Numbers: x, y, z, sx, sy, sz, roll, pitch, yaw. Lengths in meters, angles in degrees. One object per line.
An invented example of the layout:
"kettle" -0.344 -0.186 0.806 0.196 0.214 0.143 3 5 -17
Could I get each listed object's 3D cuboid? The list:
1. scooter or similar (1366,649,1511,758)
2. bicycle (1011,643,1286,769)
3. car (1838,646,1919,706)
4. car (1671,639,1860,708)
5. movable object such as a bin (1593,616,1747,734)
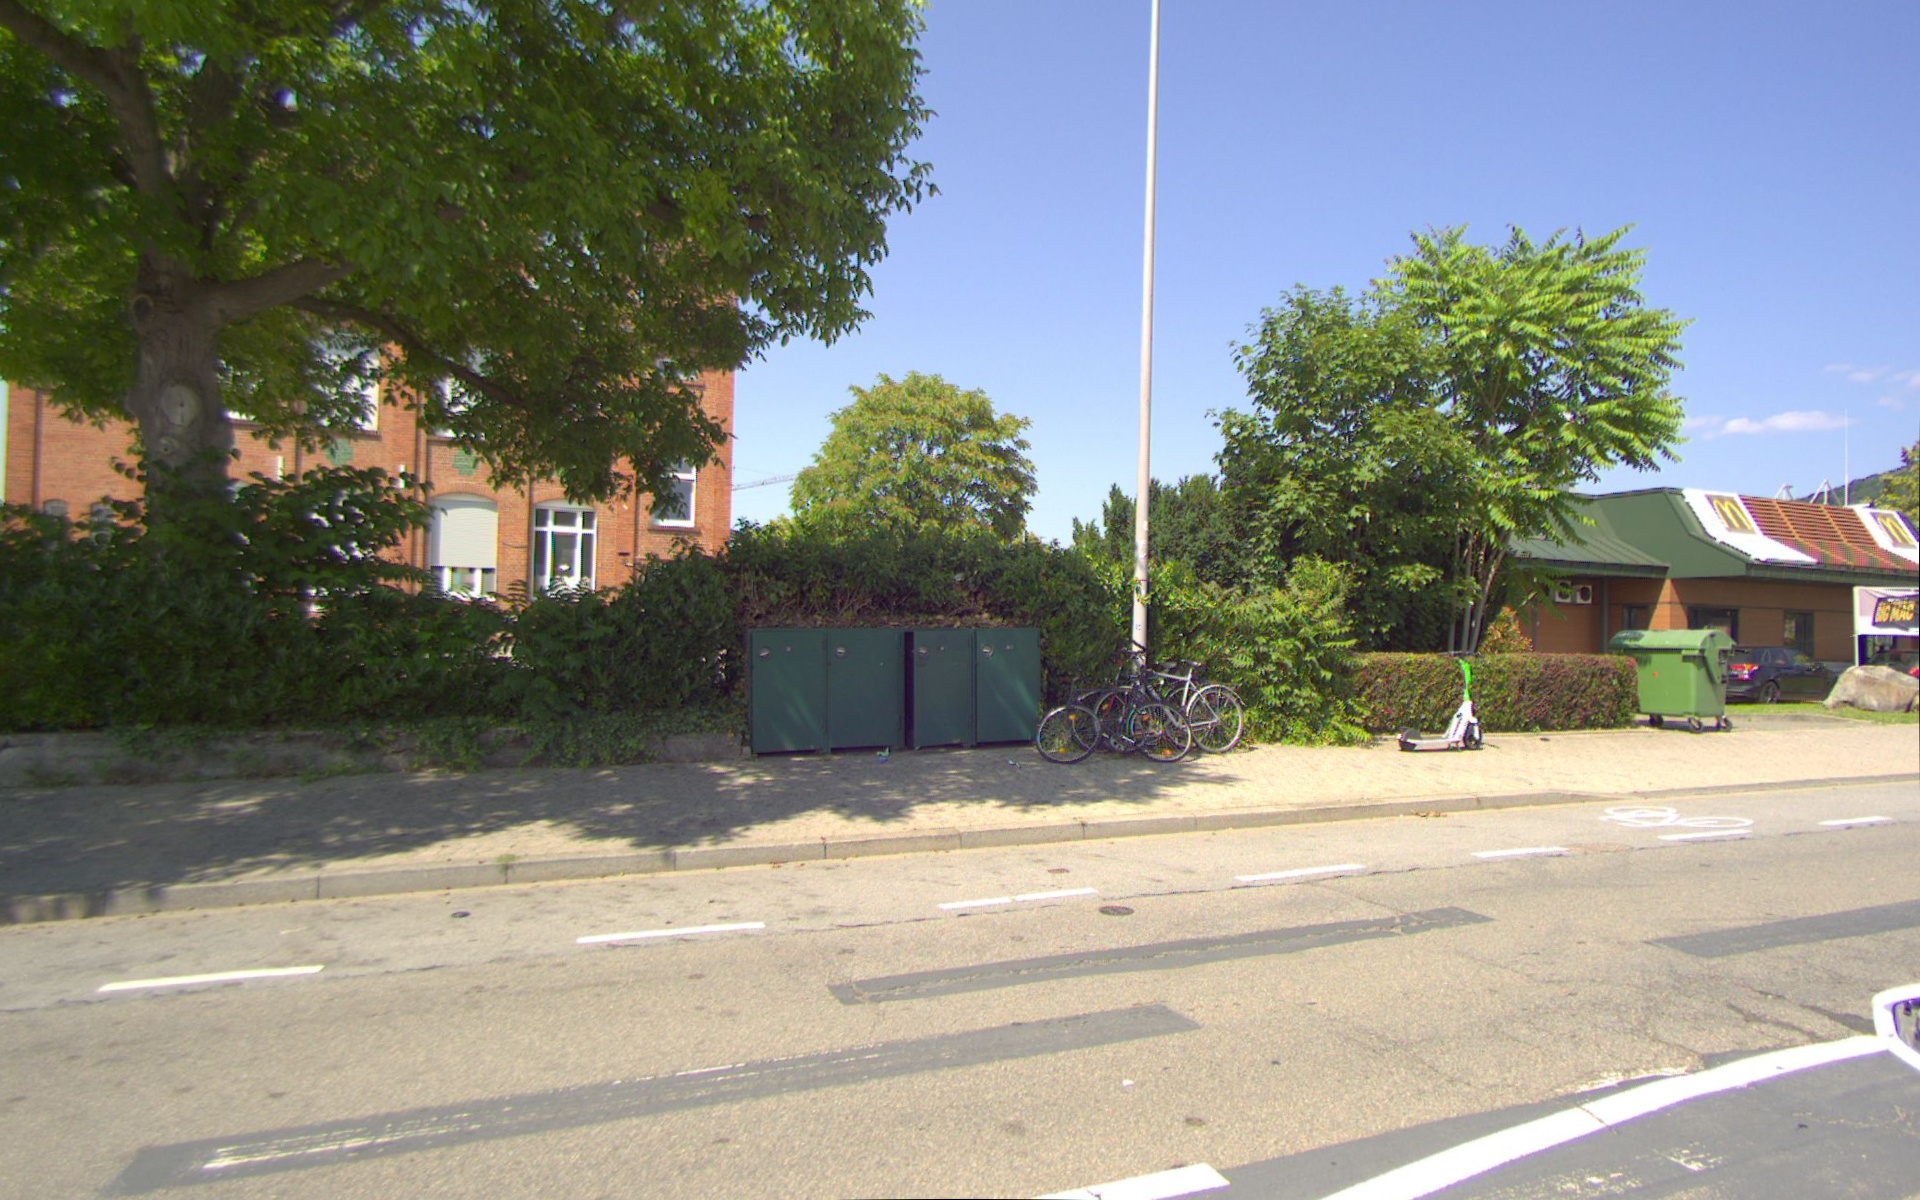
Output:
"scooter or similar" 5.587 1.176 11.720 1.602 1.143 0.644 1 2 -27
"bicycle" 2.001 1.059 10.617 2.727 1.133 1.024 1 2 -24
"car" 26.426 2.041 27.364 4.065 1.435 1.992 1 1 -19
"car" 20.045 1.790 25.003 4.258 1.496 1.823 1 1 -23
"movable object such as a bin" 10.422 1.060 14.781 1.291 1.611 1.442 1 -2 -29
